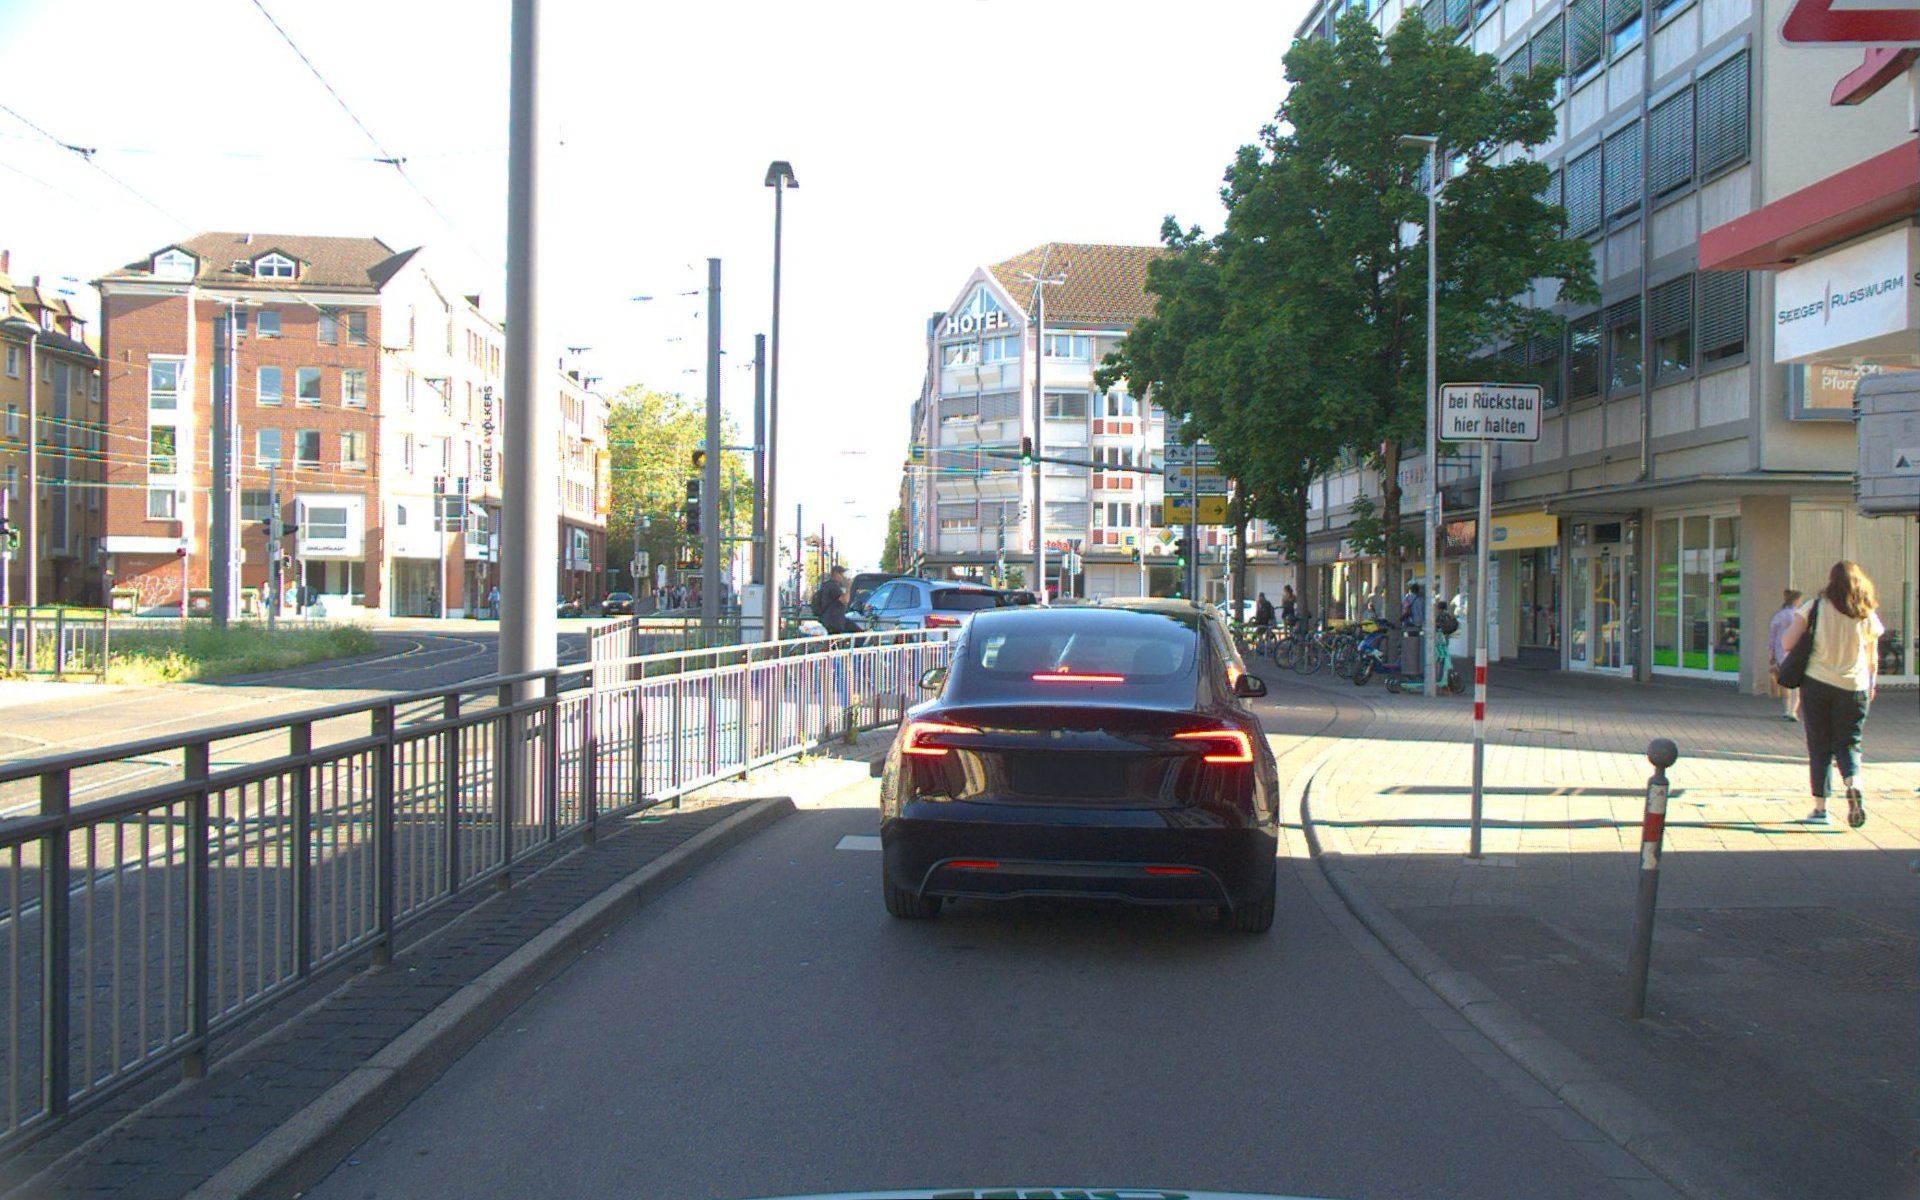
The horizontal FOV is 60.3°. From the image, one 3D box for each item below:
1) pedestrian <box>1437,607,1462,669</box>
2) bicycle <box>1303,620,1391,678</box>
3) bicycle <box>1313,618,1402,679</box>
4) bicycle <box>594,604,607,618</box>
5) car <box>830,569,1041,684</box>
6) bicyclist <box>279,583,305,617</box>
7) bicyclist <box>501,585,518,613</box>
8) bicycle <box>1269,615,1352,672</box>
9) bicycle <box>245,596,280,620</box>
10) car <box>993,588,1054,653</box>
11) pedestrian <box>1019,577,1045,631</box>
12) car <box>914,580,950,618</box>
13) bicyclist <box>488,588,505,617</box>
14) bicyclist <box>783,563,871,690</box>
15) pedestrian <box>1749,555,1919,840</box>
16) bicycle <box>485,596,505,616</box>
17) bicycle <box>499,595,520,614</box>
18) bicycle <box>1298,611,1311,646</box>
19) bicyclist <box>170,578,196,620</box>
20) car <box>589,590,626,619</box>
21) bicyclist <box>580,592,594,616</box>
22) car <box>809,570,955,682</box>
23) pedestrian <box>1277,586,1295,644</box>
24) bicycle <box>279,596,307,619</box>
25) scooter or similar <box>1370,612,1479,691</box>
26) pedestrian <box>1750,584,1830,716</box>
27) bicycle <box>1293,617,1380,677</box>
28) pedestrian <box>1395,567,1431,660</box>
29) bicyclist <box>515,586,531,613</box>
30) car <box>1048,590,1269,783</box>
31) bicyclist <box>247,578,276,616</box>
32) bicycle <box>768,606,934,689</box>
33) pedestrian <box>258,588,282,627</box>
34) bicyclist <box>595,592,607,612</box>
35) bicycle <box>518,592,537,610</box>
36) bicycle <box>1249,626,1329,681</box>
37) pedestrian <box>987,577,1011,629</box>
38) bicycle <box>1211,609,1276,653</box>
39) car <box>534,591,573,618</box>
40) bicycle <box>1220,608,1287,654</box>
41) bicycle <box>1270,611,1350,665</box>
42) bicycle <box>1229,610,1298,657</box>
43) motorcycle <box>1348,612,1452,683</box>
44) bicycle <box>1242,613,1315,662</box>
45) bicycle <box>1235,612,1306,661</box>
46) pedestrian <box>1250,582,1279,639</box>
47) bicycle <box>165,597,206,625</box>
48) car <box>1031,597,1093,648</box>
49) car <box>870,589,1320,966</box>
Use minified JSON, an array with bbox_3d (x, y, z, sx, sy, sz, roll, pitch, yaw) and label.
[{"bbox_3d":[10.921,0.851,36.900,0.381,1.367,0.513,1,-1,1],"label":"pedestrian"},{"bbox_3d":[7.380,0.930,31.545,1.620,1.079,0.349,1,-1,-11],"label":"bicycle"},{"bbox_3d":[7.477,0.916,31.125,1.620,1.118,0.349,1,-1,-11],"label":"bicycle"},{"bbox_3d":[-29.061,0.917,133.799,0.518,1.107,2.225,1,0,1],"label":"bicycle"},{"bbox_3d":[-0.486,0.393,26.534,1.859,1.691,4.125,1,0,-25],"label":"car"},{"bbox_3d":[-29.730,-0.004,73.624,0.689,1.496,0.973,0,0,7],"label":"bicyclist"},{"bbox_3d":[-26.498,-0.066,97.210,0.767,1.590,0.746,0,0,1],"label":"bicyclist"},{"bbox_3d":[7.093,0.885,33.492,1.620,1.118,0.349,1,-1,-11],"label":"bicycle"},{"bbox_3d":[-28.390,0.327,67.353,0.513,0.988,2.246,1,0,-1],"label":"bicycle"},{"bbox_3d":[1.850,0.594,48.837,1.566,1.809,3.980,1,0,-1],"label":"car"},{"bbox_3d":[2.727,0.159,63.101,0.902,2.049,0.972,1,-1,-1],"label":"pedestrian"},{"bbox_3d":[-1.329,-0.041,79.289,1.685,1.781,3.753,1,0,-1],"label":"car"},{"bbox_3d":[-26.186,0.139,93.418,0.768,1.590,0.746,1,-1,-1],"label":"bicyclist"},{"bbox_3d":[-1.790,0.342,22.168,0.753,1.657,0.964,1,-1,-39],"label":"bicyclist"},{"bbox_3d":[5.786,0.605,11.008,0.895,1.783,1.038,0,0,22],"label":"pedestrian"},{"bbox_3d":[-26.217,0.335,93.246,0.526,1.107,2.224,1,0,-2],"label":"bicycle"},{"bbox_3d":[-26.481,0.281,97.202,0.518,1.107,2.284,3,-1,1],"label":"bicycle"},{"bbox_3d":[10.339,0.847,49.666,0.325,1.052,1.257,1,0,9],"label":"bicycle"},{"bbox_3d":[-28.320,-0.031,60.289,0.620,1.529,0.696,1,-1,-1],"label":"bicyclist"},{"bbox_3d":[-22.523,0.280,105.776,1.663,1.762,3.704,1,0,-3],"label":"car"},{"bbox_3d":[-24.751,0.278,109.692,0.769,1.554,0.589,1,-1,3],"label":"bicyclist"},{"bbox_3d":[-1.606,0.486,32.574,1.962,2.049,3.981,0,0,-17],"label":"car"},{"bbox_3d":[9.864,0.459,50.068,0.515,1.740,0.404,1,-1,9],"label":"pedestrian"},{"bbox_3d":[-29.700,0.335,73.666,0.396,0.998,1.695,1,0,7],"label":"bicycle"},{"bbox_3d":[7.660,0.837,27.291,1.610,1.236,0.644,1,-1,30],"label":"scooter or similar"},{"bbox_3d":[11.003,0.653,21.948,0.871,1.696,0.808,1,-1,23],"label":"pedestrian"},{"bbox_3d":[7.276,0.908,31.967,1.620,1.118,0.349,1,-1,-11],"label":"bicycle"},{"bbox_3d":[10.134,0.301,37.022,0.648,2.049,0.579,1,-1,1],"label":"pedestrian"},{"bbox_3d":[-26.580,-0.024,100.702,0.767,1.590,0.746,0,0,1],"label":"bicyclist"},{"bbox_3d":[1.753,0.666,15.027,1.714,1.480,4.003,1,0,6],"label":"car"},{"bbox_3d":[-28.424,-0.131,67.328,0.880,1.529,0.696,1,-1,-1],"label":"bicyclist"},{"bbox_3d":[-1.457,0.637,22.432,2.313,1.072,0.622,1,-1,-39],"label":"bicycle"},{"bbox_3d":[-32.560,0.355,78.003,0.767,1.852,0.746,1,-1,1],"label":"pedestrian"},{"bbox_3d":[-29.044,0.156,133.934,0.767,1.590,0.746,1,-1,1],"label":"bicyclist"},{"bbox_3d":[-26.475,0.077,101.268,0.518,1.107,2.284,1,0,1],"label":"bicycle"},{"bbox_3d":[6.841,1.118,34.404,1.620,1.118,0.349,1,-1,-11],"label":"bicycle"},{"bbox_3d":[1.589,0.124,66.959,0.902,2.049,0.972,1,-1,-1],"label":"pedestrian"},{"bbox_3d":[7.290,0.799,42.577,1.616,1.118,0.350,1,-1,1],"label":"bicycle"},{"bbox_3d":[-24.391,0.271,99.309,1.677,1.553,4.031,1,0,-5],"label":"car"},{"bbox_3d":[7.360,0.774,41.484,1.616,1.118,0.350,0,0,1],"label":"bicycle"},{"bbox_3d":[7.497,0.805,35.448,1.616,1.118,0.350,1,-1,1],"label":"bicycle"},{"bbox_3d":[7.425,0.818,40.439,1.616,1.118,0.350,1,-1,1],"label":"bicycle"},{"bbox_3d":[7.806,0.838,29.368,1.673,1.194,0.541,1,-1,-3],"label":"motorcycle"},{"bbox_3d":[7.380,0.864,38.398,1.616,1.118,0.350,1,-1,1],"label":"bicycle"},{"bbox_3d":[7.396,0.865,39.425,1.616,1.118,0.350,1,-1,1],"label":"bicycle"},{"bbox_3d":[9.177,0.318,49.829,0.685,1.691,0.777,1,-1,-1],"label":"pedestrian"},{"bbox_3d":[-28.328,0.389,60.531,0.437,0.988,2.246,1,0,-1],"label":"bicycle"},{"bbox_3d":[3.391,0.736,55.573,1.783,1.643,3.826,1,0,-1],"label":"car"},{"bbox_3d":[0.683,0.723,8.688,1.791,1.481,4.002,1,0,4],"label":"car"}]
